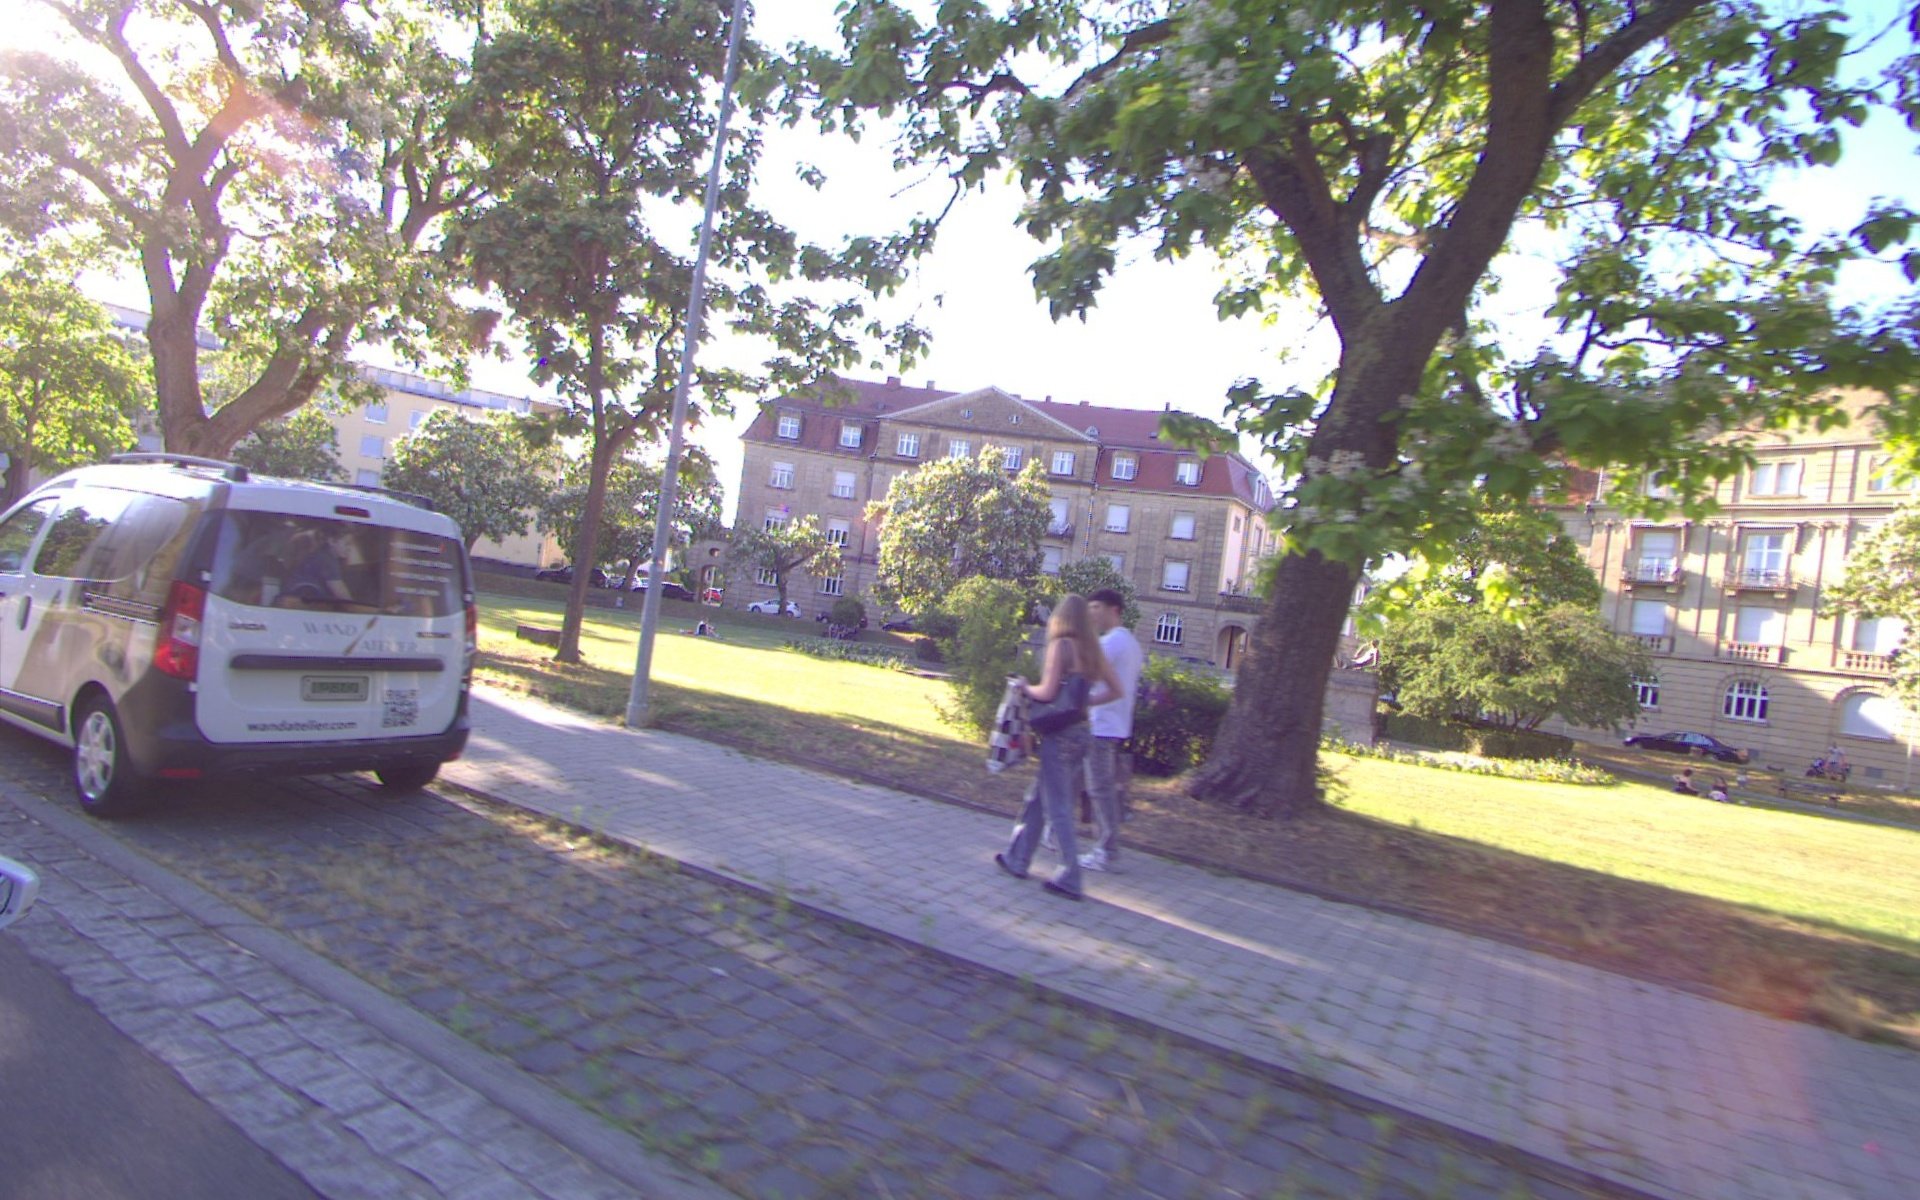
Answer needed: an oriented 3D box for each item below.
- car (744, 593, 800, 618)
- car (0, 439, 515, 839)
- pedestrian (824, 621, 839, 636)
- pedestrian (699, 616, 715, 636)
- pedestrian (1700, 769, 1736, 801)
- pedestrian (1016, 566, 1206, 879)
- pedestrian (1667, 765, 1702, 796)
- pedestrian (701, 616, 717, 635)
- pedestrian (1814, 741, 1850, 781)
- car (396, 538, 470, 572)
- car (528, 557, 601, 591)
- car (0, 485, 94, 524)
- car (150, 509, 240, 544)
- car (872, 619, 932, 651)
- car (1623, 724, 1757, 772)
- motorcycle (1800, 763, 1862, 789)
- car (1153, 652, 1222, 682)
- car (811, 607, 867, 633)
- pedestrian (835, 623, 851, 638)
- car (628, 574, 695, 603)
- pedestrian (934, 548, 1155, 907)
[{"bbox_3d":[-14.864,0.454,79.694,3.926,1.470,1.881,8,-1,1],"label":"car"},{"bbox_3d":[-5.042,0.042,6.397,4.439,1.760,1.681,7,-1,32],"label":"car"},{"bbox_3d":[-8.071,1.794,63.026,0.655,0.803,0.587,7,0,21],"label":"pedestrian"},{"bbox_3d":[-11.409,1.166,45.419,0.578,0.803,0.666,8,0,-11],"label":"pedestrian"},{"bbox_3d":[25.781,6.286,34.217,0.570,0.891,0.674,9,-1,-20],"label":"pedestrian"},{"bbox_3d":[0.958,0.739,6.303,0.719,1.756,0.726,8,-1,32],"label":"pedestrian"},{"bbox_3d":[24.662,6.133,34.236,0.570,0.891,0.674,9,-1,-20],"label":"pedestrian"},{"bbox_3d":[-11.524,1.168,46.194,0.578,0.803,0.666,8,0,-11],"label":"pedestrian"},{"bbox_3d":[36.721,6.761,42.378,0.935,1.493,0.681,7,0,34],"label":"pedestrian"},{"bbox_3d":[-38.449,-3.277,73.469,4.468,1.766,1.870,8,-1,-24],"label":"car"},{"bbox_3d":[-27.877,-1.806,71.030,4.456,1.767,1.875,8,-1,-15],"label":"car"},{"bbox_3d":[-51.637,-5.373,56.635,4.183,1.480,1.672,9,-1,-43],"label":"car"},{"bbox_3d":[-46.305,-4.443,60.958,4.176,1.373,1.675,9,-1,-38],"label":"car"},{"bbox_3d":[-4.196,2.586,73.358,3.925,1.725,2.002,9,-2,4],"label":"car"},{"bbox_3d":[35.524,7.188,49.107,1.802,1.434,4.906,8,-1,-33],"label":"car"},{"bbox_3d":[36.658,7.406,42.369,1.829,0.679,0.681,7,-1,34],"label":"motorcycle"},{"bbox_3d":[15.308,4.498,67.664,4.029,1.434,1.816,7,-1,33],"label":"car"},{"bbox_3d":[-9.561,1.575,79.732,3.924,1.470,1.882,8,-1,6],"label":"car"},{"bbox_3d":[-7.302,1.915,62.749,0.655,0.803,0.587,7,0,21],"label":"pedestrian"},{"bbox_3d":[-21.588,-0.791,72.913,4.292,1.470,1.879,8,-1,-6],"label":"car"},{"bbox_3d":[0.482,0.669,5.562,0.719,1.756,0.754,8,-1,32],"label":"pedestrian"}]
